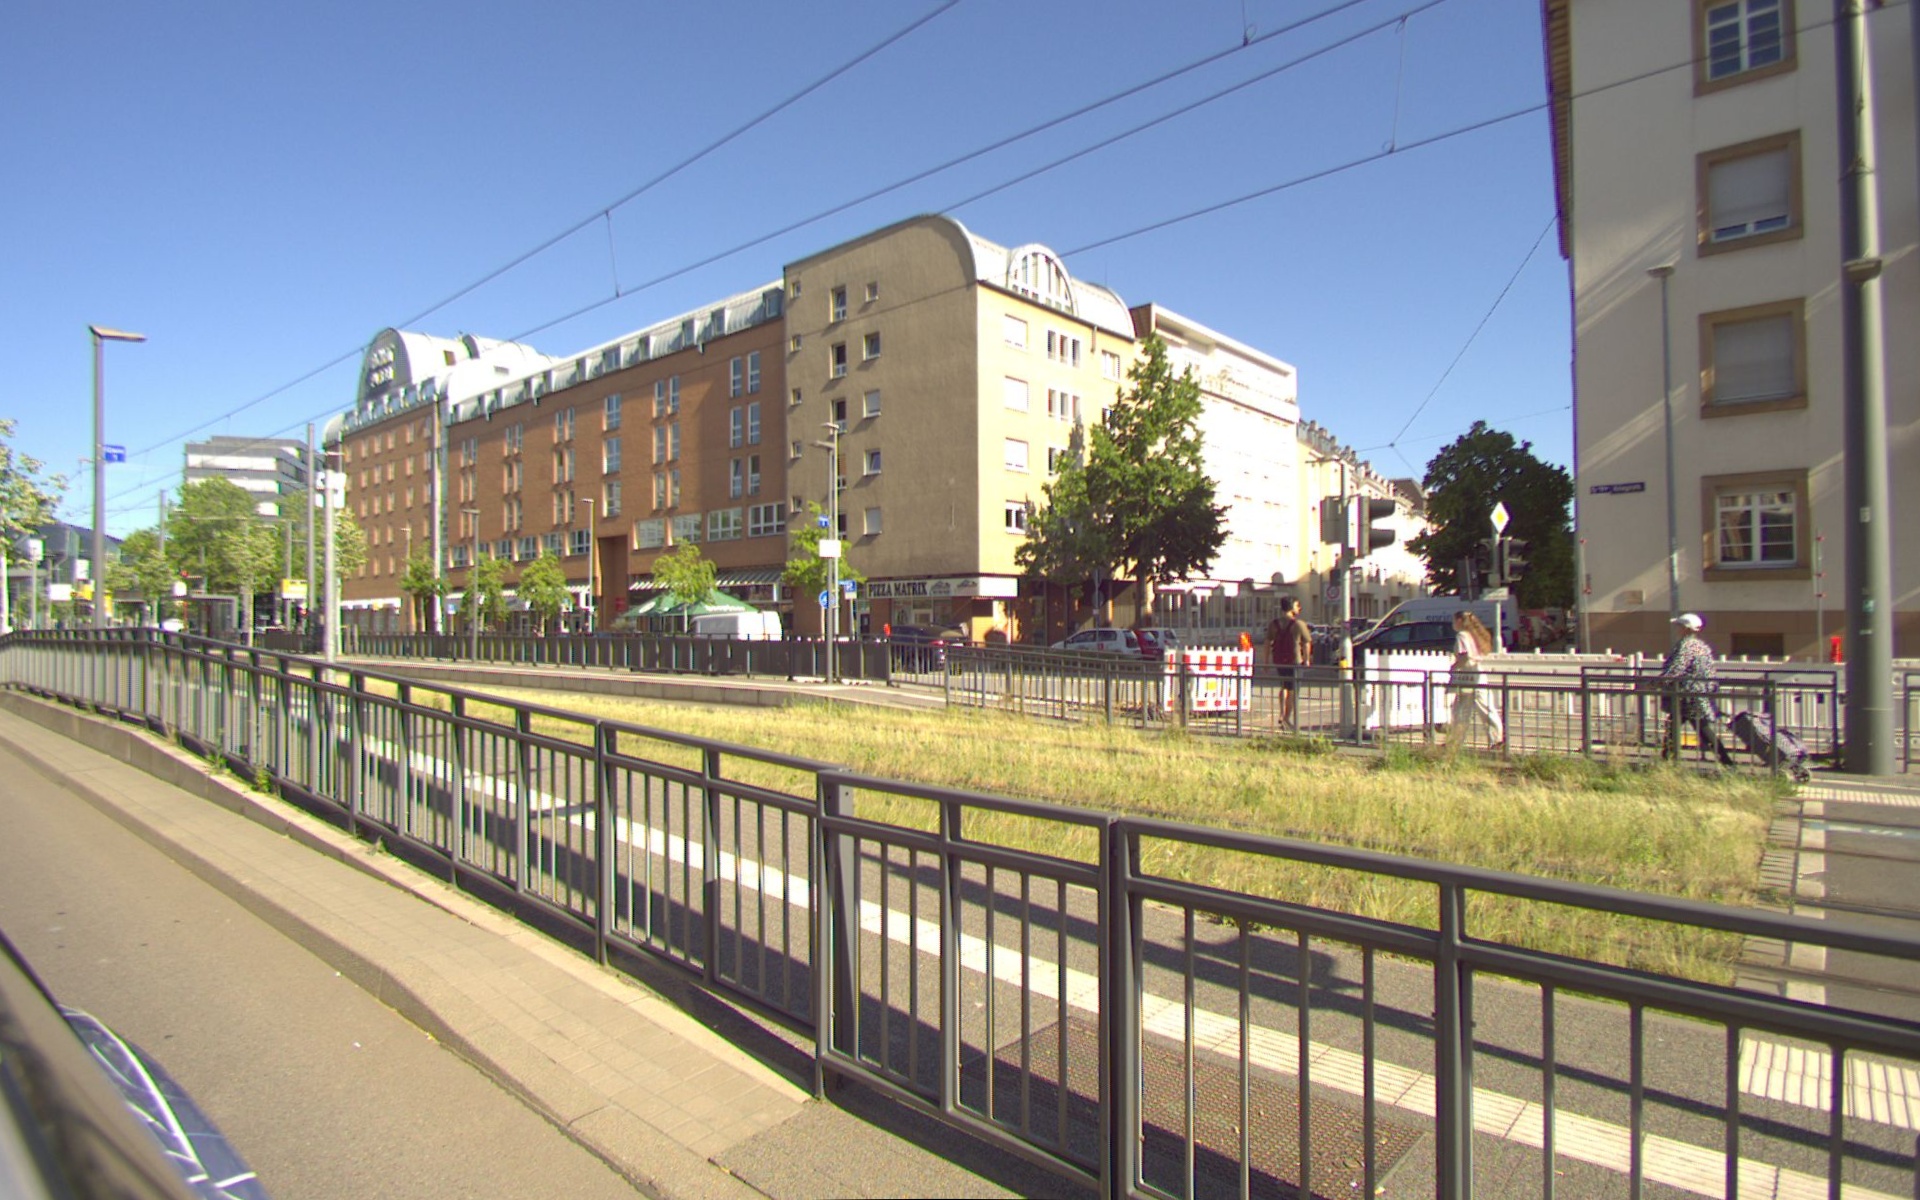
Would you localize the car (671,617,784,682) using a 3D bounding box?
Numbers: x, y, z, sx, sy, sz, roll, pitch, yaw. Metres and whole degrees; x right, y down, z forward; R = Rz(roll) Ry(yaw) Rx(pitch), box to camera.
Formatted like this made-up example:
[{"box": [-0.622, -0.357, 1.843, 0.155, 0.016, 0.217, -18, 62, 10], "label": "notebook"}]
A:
[{"box": [-9.322, 1.900, 40.219, 1.969, 2.388, 5.653, 0, -2, -41], "label": "car"}]

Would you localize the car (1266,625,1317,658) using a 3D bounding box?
[{"box": [17.630, 2.152, 53.739, 1.947, 1.674, 3.962, -1, -2, 28], "label": "car"}]

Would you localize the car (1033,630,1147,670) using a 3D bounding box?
[{"box": [4.954, 1.873, 38.591, 3.980, 1.462, 1.768, -1, -2, 28], "label": "car"}]

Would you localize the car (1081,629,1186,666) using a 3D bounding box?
[{"box": [7.289, 1.985, 42.550, 3.980, 1.462, 1.768, -1, -2, 28], "label": "car"}]

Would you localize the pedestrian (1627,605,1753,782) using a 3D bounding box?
[{"box": [6.855, 0.835, 9.506, 0.786, 1.548, 0.816, 0, -1, -45], "label": "pedestrian"}]

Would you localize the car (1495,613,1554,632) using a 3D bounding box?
[{"box": [44.284, 1.770, 79.426, 3.853, 1.472, 1.740, -1, -2, 24], "label": "car"}]

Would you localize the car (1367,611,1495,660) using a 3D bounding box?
[{"box": [15.580, 1.173, 33.482, 3.654, 1.533, 1.673, -1, -2, 32], "label": "car"}]

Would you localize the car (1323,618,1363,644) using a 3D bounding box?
[{"box": [24.745, 1.993, 65.324, 1.947, 1.674, 3.962, -1, -2, 28], "label": "car"}]

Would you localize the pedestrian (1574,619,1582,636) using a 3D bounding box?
[{"box": [65.394, 2.937, 107.098, 0.687, 1.768, 0.807, -2, -2, 34], "label": "pedestrian"}]

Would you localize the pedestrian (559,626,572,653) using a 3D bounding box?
[{"box": [-26.956, 2.672, 69.160, 0.644, 1.854, 0.614, -2, -2, 39], "label": "pedestrian"}]

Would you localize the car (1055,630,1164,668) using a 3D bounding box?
[{"box": [5.964, 1.947, 40.521, 3.980, 1.462, 1.768, -1, -2, 28], "label": "car"}]

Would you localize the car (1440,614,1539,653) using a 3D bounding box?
[{"box": [25.213, 1.605, 48.211, 3.990, 1.789, 1.722, -1, -2, 35], "label": "car"}]

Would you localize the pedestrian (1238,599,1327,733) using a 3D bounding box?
[{"box": [4.513, 0.890, 14.163, 0.908, 1.794, 0.856, -2, -1, 39], "label": "pedestrian"}]

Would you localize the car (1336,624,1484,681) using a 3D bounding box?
[{"box": [12.809, 1.459, 28.876, 3.662, 1.533, 1.673, -1, -2, 32], "label": "car"}]

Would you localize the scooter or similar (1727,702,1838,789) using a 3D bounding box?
[{"box": [7.350, 1.282, 9.050, 0.508, 0.656, 0.709, 0, -1, -45], "label": "scooter or similar"}]

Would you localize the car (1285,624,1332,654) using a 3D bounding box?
[{"box": [19.903, 2.204, 57.730, 1.947, 1.674, 3.962, -1, -2, 28], "label": "car"}]

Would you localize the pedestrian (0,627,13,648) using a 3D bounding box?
[{"box": [-73.416, 2.871, 77.917, 0.600, 1.581, 0.729, 0, -2, -34], "label": "pedestrian"}]

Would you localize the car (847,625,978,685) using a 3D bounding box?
[{"box": [-1.541, 1.689, 32.008, 3.997, 1.773, 1.796, -2, -2, 40], "label": "car"}]

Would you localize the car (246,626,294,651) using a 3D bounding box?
[{"box": [-50.551, 2.803, 74.119, 3.998, 1.696, 1.973, -1, 0, 41], "label": "car"}]

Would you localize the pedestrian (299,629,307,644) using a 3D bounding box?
[{"box": [-73.302, 4.075, 112.948, 0.637, 1.622, 0.728, 1, -2, -45], "label": "pedestrian"}]

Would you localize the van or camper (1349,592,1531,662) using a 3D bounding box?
[{"box": [17.742, 1.009, 37.537, 5.933, 2.419, 1.979, -1, -2, 30], "label": "van or camper"}]

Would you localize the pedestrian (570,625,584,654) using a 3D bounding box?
[{"box": [-24.968, 2.581, 65.990, 0.644, 1.854, 0.614, -2, -2, 41], "label": "pedestrian"}]

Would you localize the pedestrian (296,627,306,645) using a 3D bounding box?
[{"box": [-67.750, 3.705, 104.064, 0.780, 1.769, 0.706, -2, -2, 44], "label": "pedestrian"}]

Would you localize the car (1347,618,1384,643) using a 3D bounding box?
[{"box": [28.188, 2.098, 70.312, 1.947, 1.674, 3.962, -1, -2, 28], "label": "car"}]

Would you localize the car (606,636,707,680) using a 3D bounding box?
[{"box": [-10.311, 1.954, 34.284, 3.651, 1.386, 1.557, -2, -4, 41], "label": "car"}]

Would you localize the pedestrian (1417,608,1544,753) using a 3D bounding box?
[{"box": [5.882, 0.877, 11.486, 0.894, 1.548, 0.870, -1, -1, -11], "label": "pedestrian"}]

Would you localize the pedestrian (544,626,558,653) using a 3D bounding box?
[{"box": [-28.208, 2.699, 69.828, 0.644, 1.854, 0.614, -2, -2, 39], "label": "pedestrian"}]
